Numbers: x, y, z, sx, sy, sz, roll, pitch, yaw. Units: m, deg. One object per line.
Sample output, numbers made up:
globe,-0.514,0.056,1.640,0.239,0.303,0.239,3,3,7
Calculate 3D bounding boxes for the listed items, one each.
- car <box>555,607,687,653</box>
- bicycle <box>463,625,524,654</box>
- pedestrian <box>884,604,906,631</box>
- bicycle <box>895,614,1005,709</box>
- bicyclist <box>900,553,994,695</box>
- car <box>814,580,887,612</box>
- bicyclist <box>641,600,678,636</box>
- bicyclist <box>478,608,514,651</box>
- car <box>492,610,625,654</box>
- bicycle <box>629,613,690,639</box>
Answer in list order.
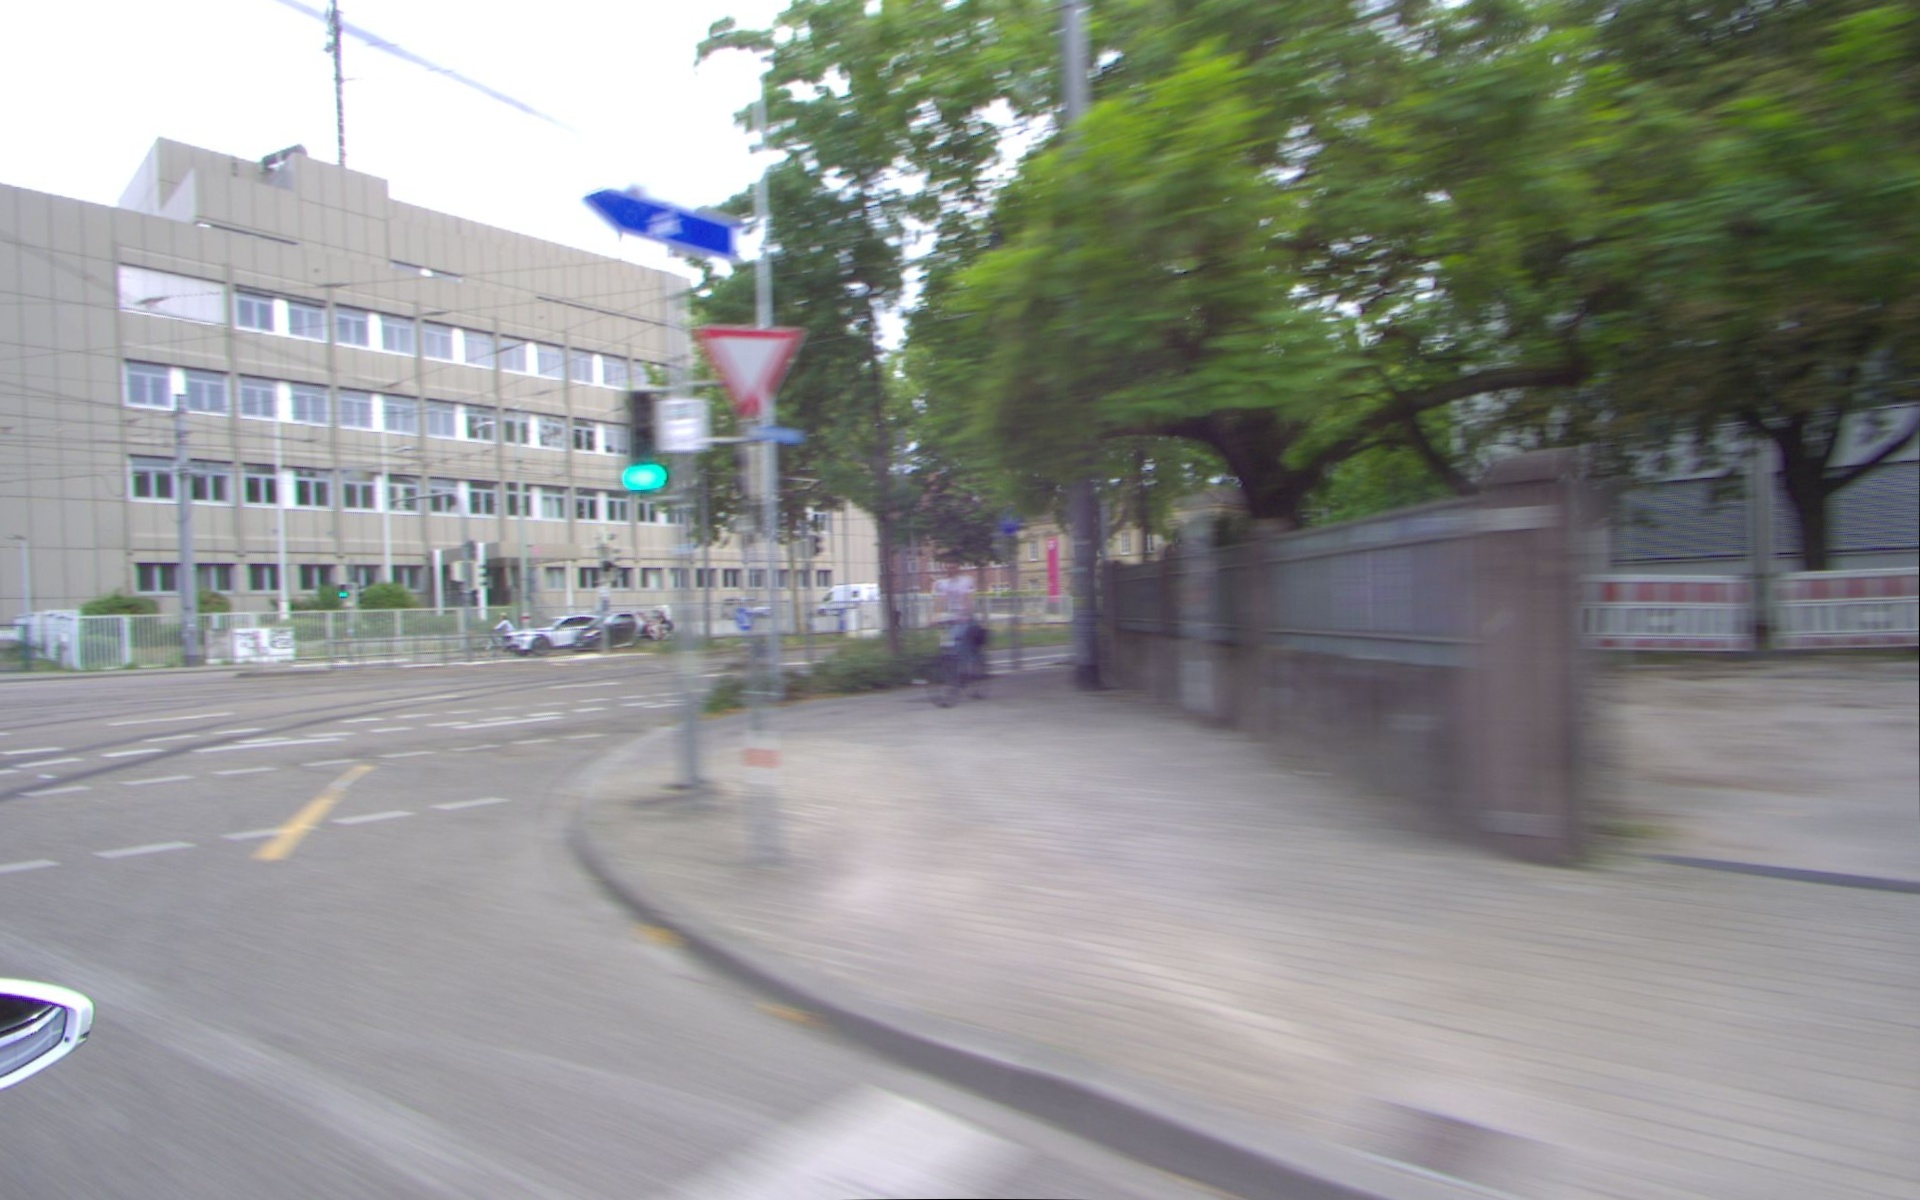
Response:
car,-12.814,1.096,37.997,1.819,1.587,4.378,-1,0,45
bicycle,-18.967,1.600,40.761,2.145,1.101,0.802,-1,0,-16
pedestrian,-3.955,1.081,61.051,0.970,1.590,0.876,-2,1,-43
bicycle,-0.093,0.792,13.516,0.738,1.101,2.010,-3,0,21
bicyclist,-0.154,0.307,13.466,0.735,1.784,1.249,-3,1,21
car,-8.868,-0.319,80.856,5.828,2.430,2.550,-2,0,39
bicyclist,-13.396,0.805,44.668,0.795,1.570,1.316,-1,1,44
bicyclist,-18.884,1.199,40.769,1.161,1.724,0.802,-1,0,-15
car,-15.590,1.210,39.048,1.979,1.524,4.381,-1,0,43
bicycle,-13.389,1.150,44.679,0.795,1.101,2.538,-1,0,44
